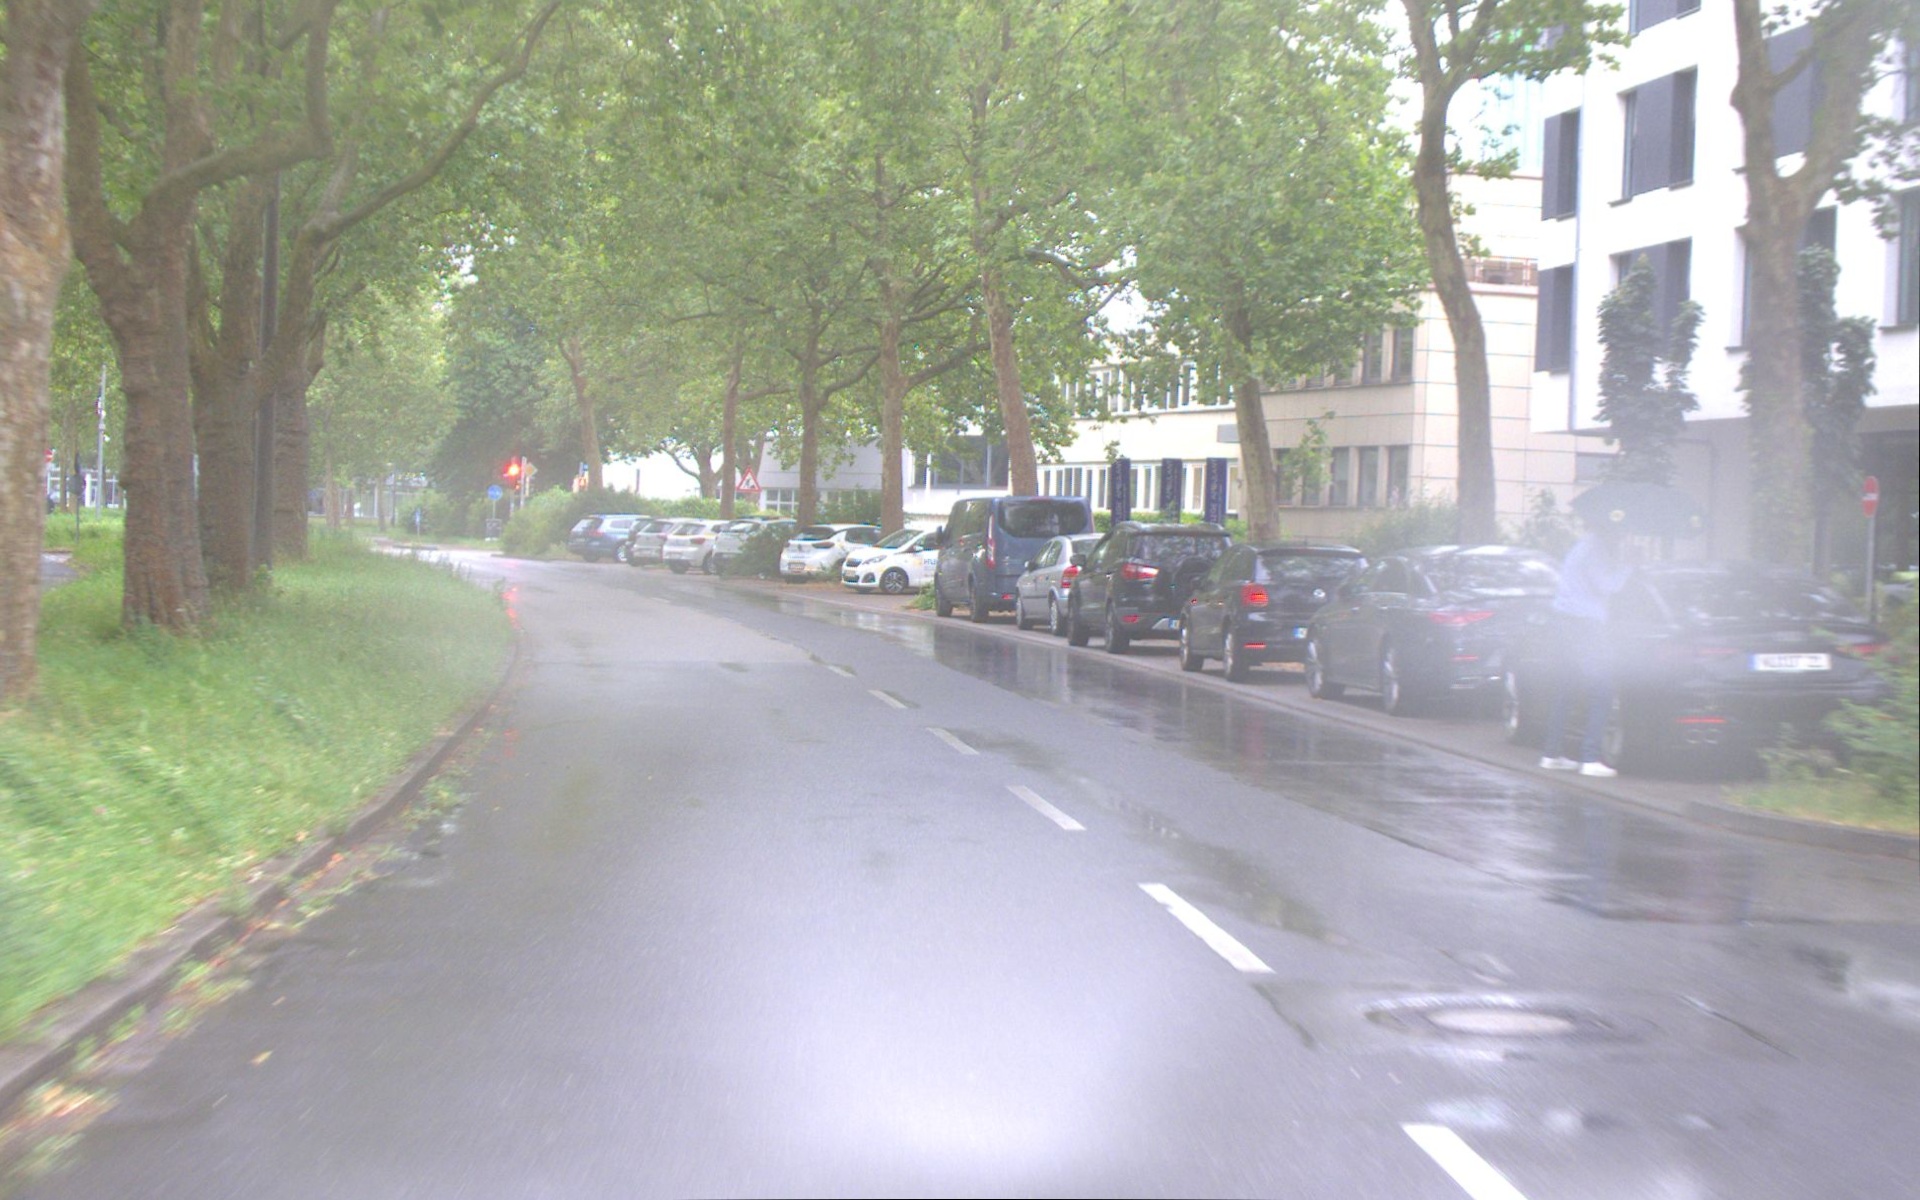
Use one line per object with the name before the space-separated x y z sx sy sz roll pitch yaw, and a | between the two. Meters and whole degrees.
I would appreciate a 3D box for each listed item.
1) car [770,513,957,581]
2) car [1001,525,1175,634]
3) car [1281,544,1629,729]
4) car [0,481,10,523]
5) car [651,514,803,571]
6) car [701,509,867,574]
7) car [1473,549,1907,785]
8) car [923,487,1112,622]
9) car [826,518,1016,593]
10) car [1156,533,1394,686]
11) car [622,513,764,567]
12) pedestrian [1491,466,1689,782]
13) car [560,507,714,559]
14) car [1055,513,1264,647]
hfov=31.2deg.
car | -2.160 -1.187 77.621 4.027 1.423 1.748 1 2 -43
car | 1.824 -0.334 50.316 1.743 1.464 4.307 2 1 -9
car | 4.269 0.259 30.510 1.743 1.423 5.105 2 1 -7
car | -39.552 -3.982 138.573 1.743 1.644 4.307 1 1 -25
car | -6.197 -1.531 91.702 3.682 1.411 1.748 1 1 -40
car | -4.419 -1.465 86.777 1.748 1.534 4.027 3 2 45
car | 4.944 0.383 23.987 1.743 1.423 4.860 -1 1 -3
car | 0.860 -0.763 55.569 2.121 2.021 5.529 2 1 -9
car | -0.837 -0.955 73.506 3.634 1.499 1.749 0 3 -28
car | 3.281 0.060 36.557 1.743 1.471 4.083 2 1 -5
car | -7.536 -1.677 97.089 3.682 1.411 1.775 1 2 -44
pedestrian | 4.117 0.146 22.470 0.897 2.007 0.833 1 1 -42
car | -9.926 -2.059 105.843 4.483 1.454 1.748 1 1 -40
car | 2.463 -0.295 43.516 1.743 1.561 4.373 2 1 -9
